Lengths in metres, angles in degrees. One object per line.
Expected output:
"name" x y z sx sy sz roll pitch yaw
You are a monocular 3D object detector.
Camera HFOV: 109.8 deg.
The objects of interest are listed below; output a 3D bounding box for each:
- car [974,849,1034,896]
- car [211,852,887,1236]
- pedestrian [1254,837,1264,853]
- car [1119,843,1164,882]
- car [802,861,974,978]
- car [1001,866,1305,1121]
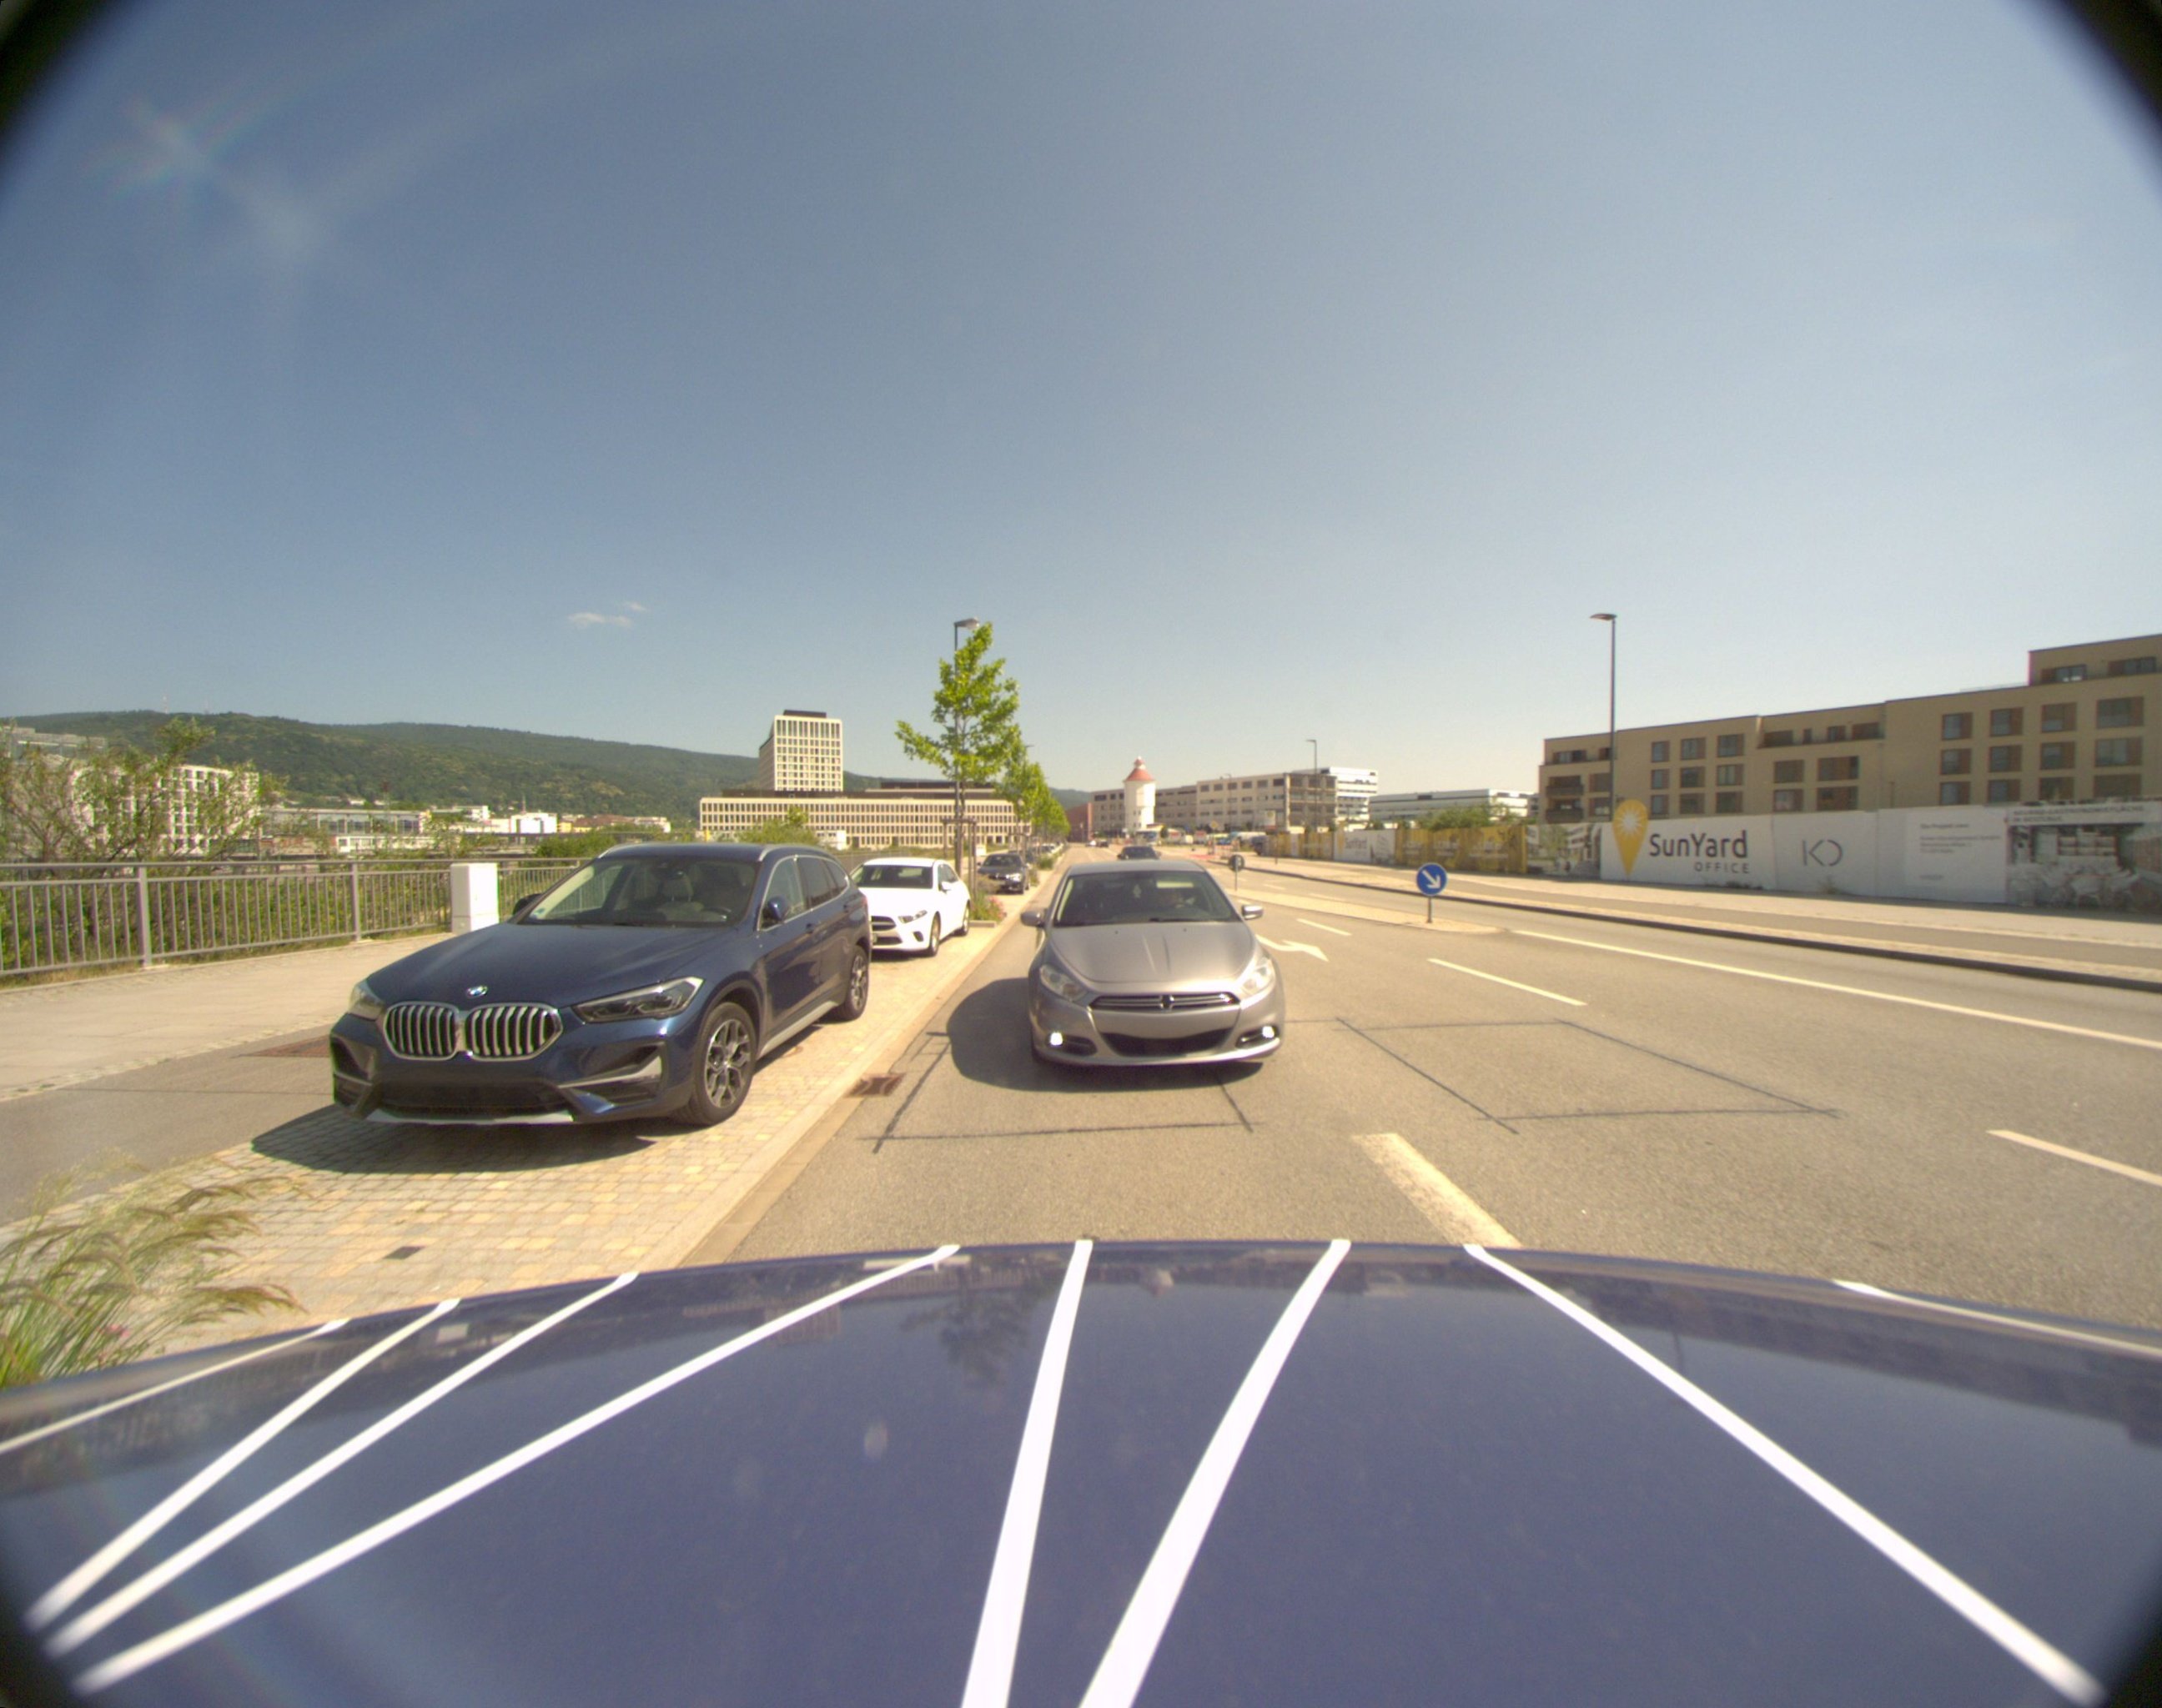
"car" -2.761 0.623 27.985 1.664 1.529 3.999 -2 1 1
"car" -2.882 0.840 5.468 1.769 1.598 4.238 -2 1 1
"pedestrian" 18.183 -0.942 77.785 0.705 1.577 0.617 -3 1 -36
"car" 2.804 0.355 35.943 1.806 1.632 4.365 -2 1 1
"car" -2.899 0.913 12.327 1.664 1.447 3.999 -2 1 1
"car" 0.465 0.876 6.658 1.784 1.372 4.135 -2 1 1
